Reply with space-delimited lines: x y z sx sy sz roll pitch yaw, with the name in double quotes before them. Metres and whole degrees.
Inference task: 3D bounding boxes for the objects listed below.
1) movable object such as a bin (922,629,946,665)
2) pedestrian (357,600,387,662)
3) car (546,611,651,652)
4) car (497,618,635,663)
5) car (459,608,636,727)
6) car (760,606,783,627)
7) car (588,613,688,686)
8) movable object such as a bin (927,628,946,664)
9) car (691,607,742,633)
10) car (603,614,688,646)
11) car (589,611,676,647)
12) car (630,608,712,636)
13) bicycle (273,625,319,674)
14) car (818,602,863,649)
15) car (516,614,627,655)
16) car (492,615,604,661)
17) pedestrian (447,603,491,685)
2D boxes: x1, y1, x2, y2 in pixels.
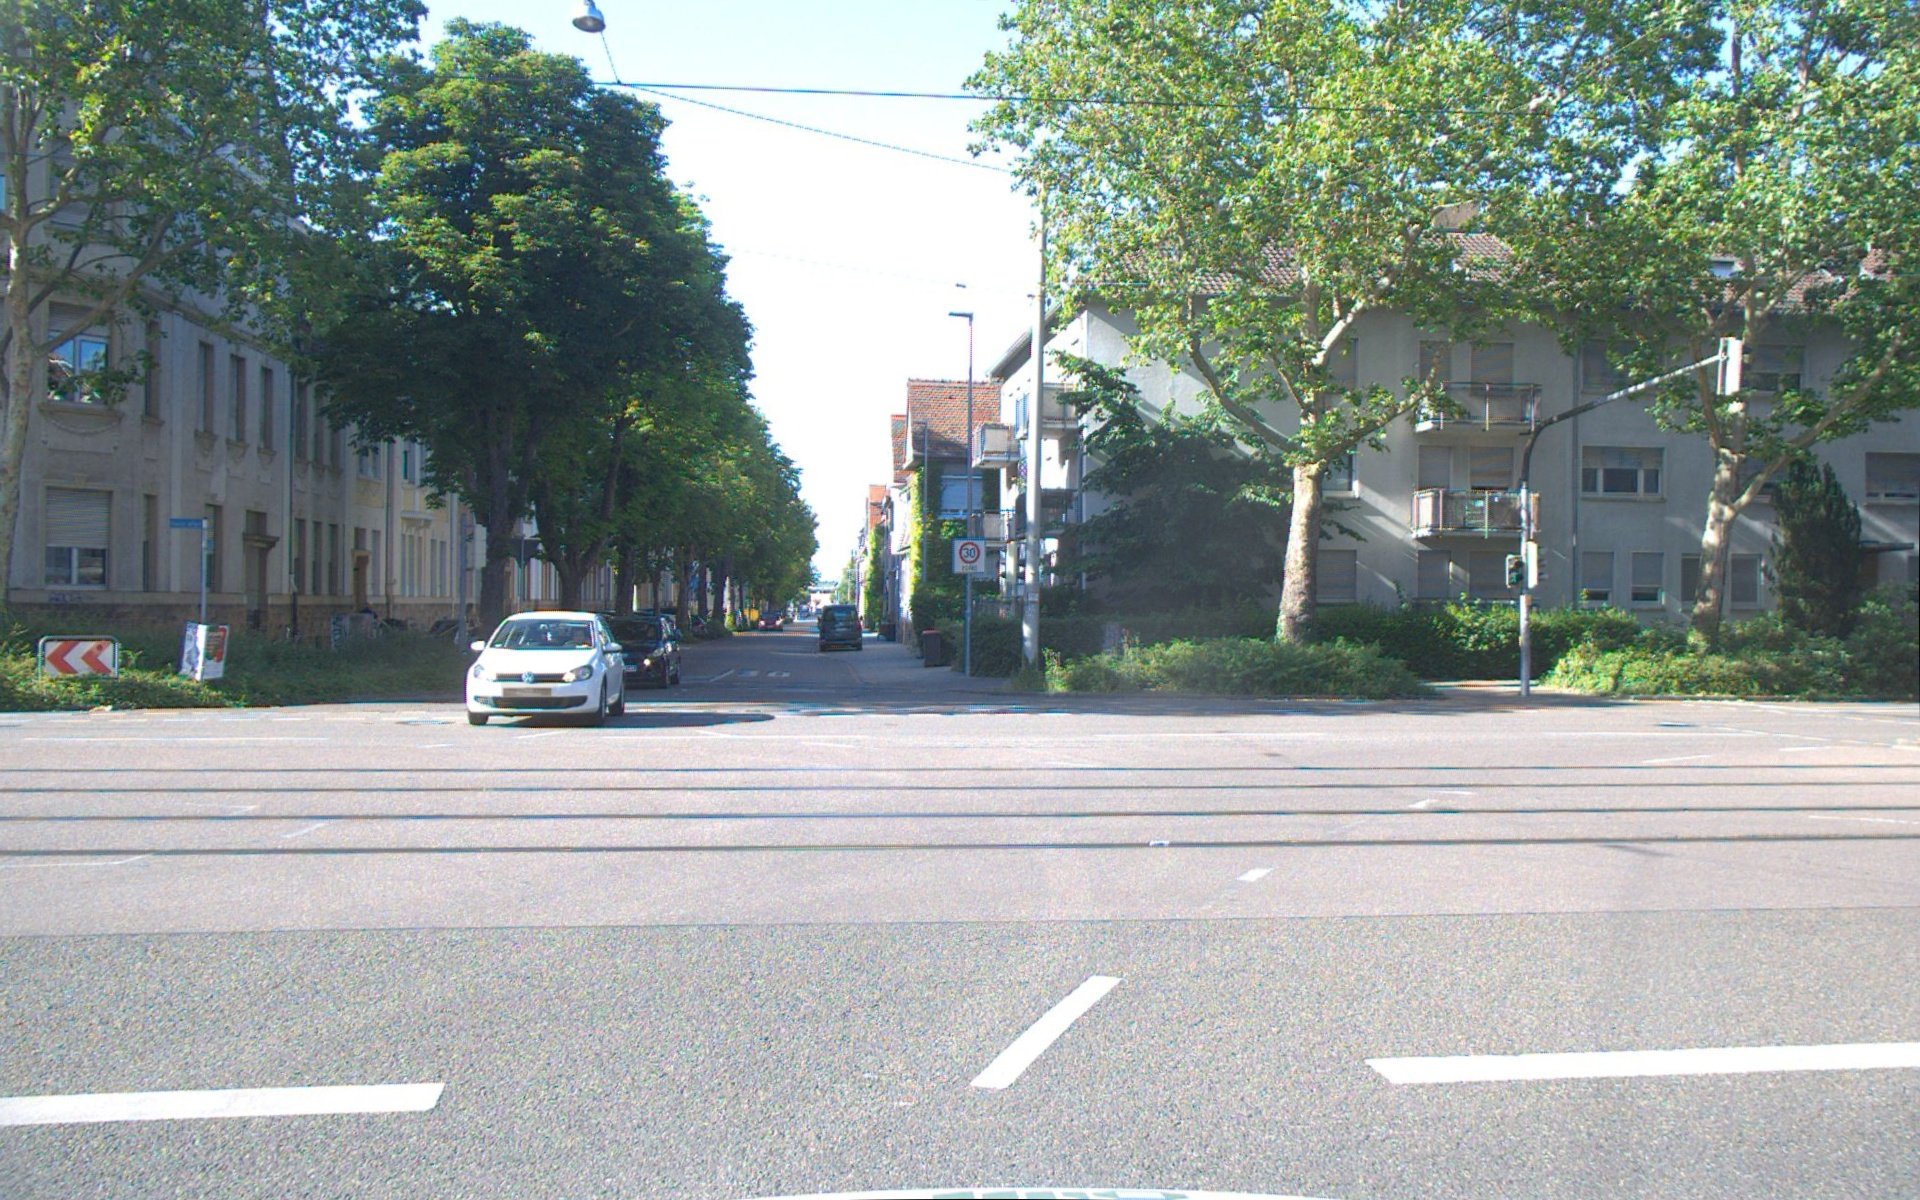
"movable object such as a bin" -0.788 1.421 50.180 0.585 1.062 0.706 -3 0 -7
"pedestrian" -16.322 0.852 45.909 0.450 1.687 0.895 0 -1 3
"car" -14.796 1.290 67.894 3.908 1.594 1.862 1 -1 -4
"car" -12.804 1.323 53.887 4.130 1.372 1.701 1 -1 -5
"car" -5.562 0.893 22.756 1.771 1.484 3.995 0 -1 -5
"car" -14.477 1.271 127.109 1.609 1.535 3.698 -1 0 -5
"car" -6.872 1.032 35.632 1.628 1.490 3.805 0 -1 -4
"movable object such as a bin" -0.731 1.419 51.097 0.474 1.062 0.656 -3 0 -7
"car" -18.998 1.570 129.130 3.913 1.791 1.794 3 -1 -9
"car" -15.610 1.463 82.280 3.822 1.471 1.859 1 -1 0
"car" -15.768 1.375 79.749 3.910 1.620 1.857 1 -1 -6
"car" -16.434 1.255 94.230 4.445 1.529 1.889 1 -1 -6
"bicycle" -17.346 1.276 43.254 0.503 1.174 1.980 2 0 -4
"car" -5.299 1.119 73.392 1.828 1.949 4.778 3 -1 -4
"car" -14.869 1.313 63.452 3.908 1.534 1.721 -1 -1 -4
"car" -13.918 1.297 55.947 3.365 1.477 1.702 1 -1 -3
"pedestrian" -10.463 0.933 35.286 0.679 1.711 0.680 0 -1 6
